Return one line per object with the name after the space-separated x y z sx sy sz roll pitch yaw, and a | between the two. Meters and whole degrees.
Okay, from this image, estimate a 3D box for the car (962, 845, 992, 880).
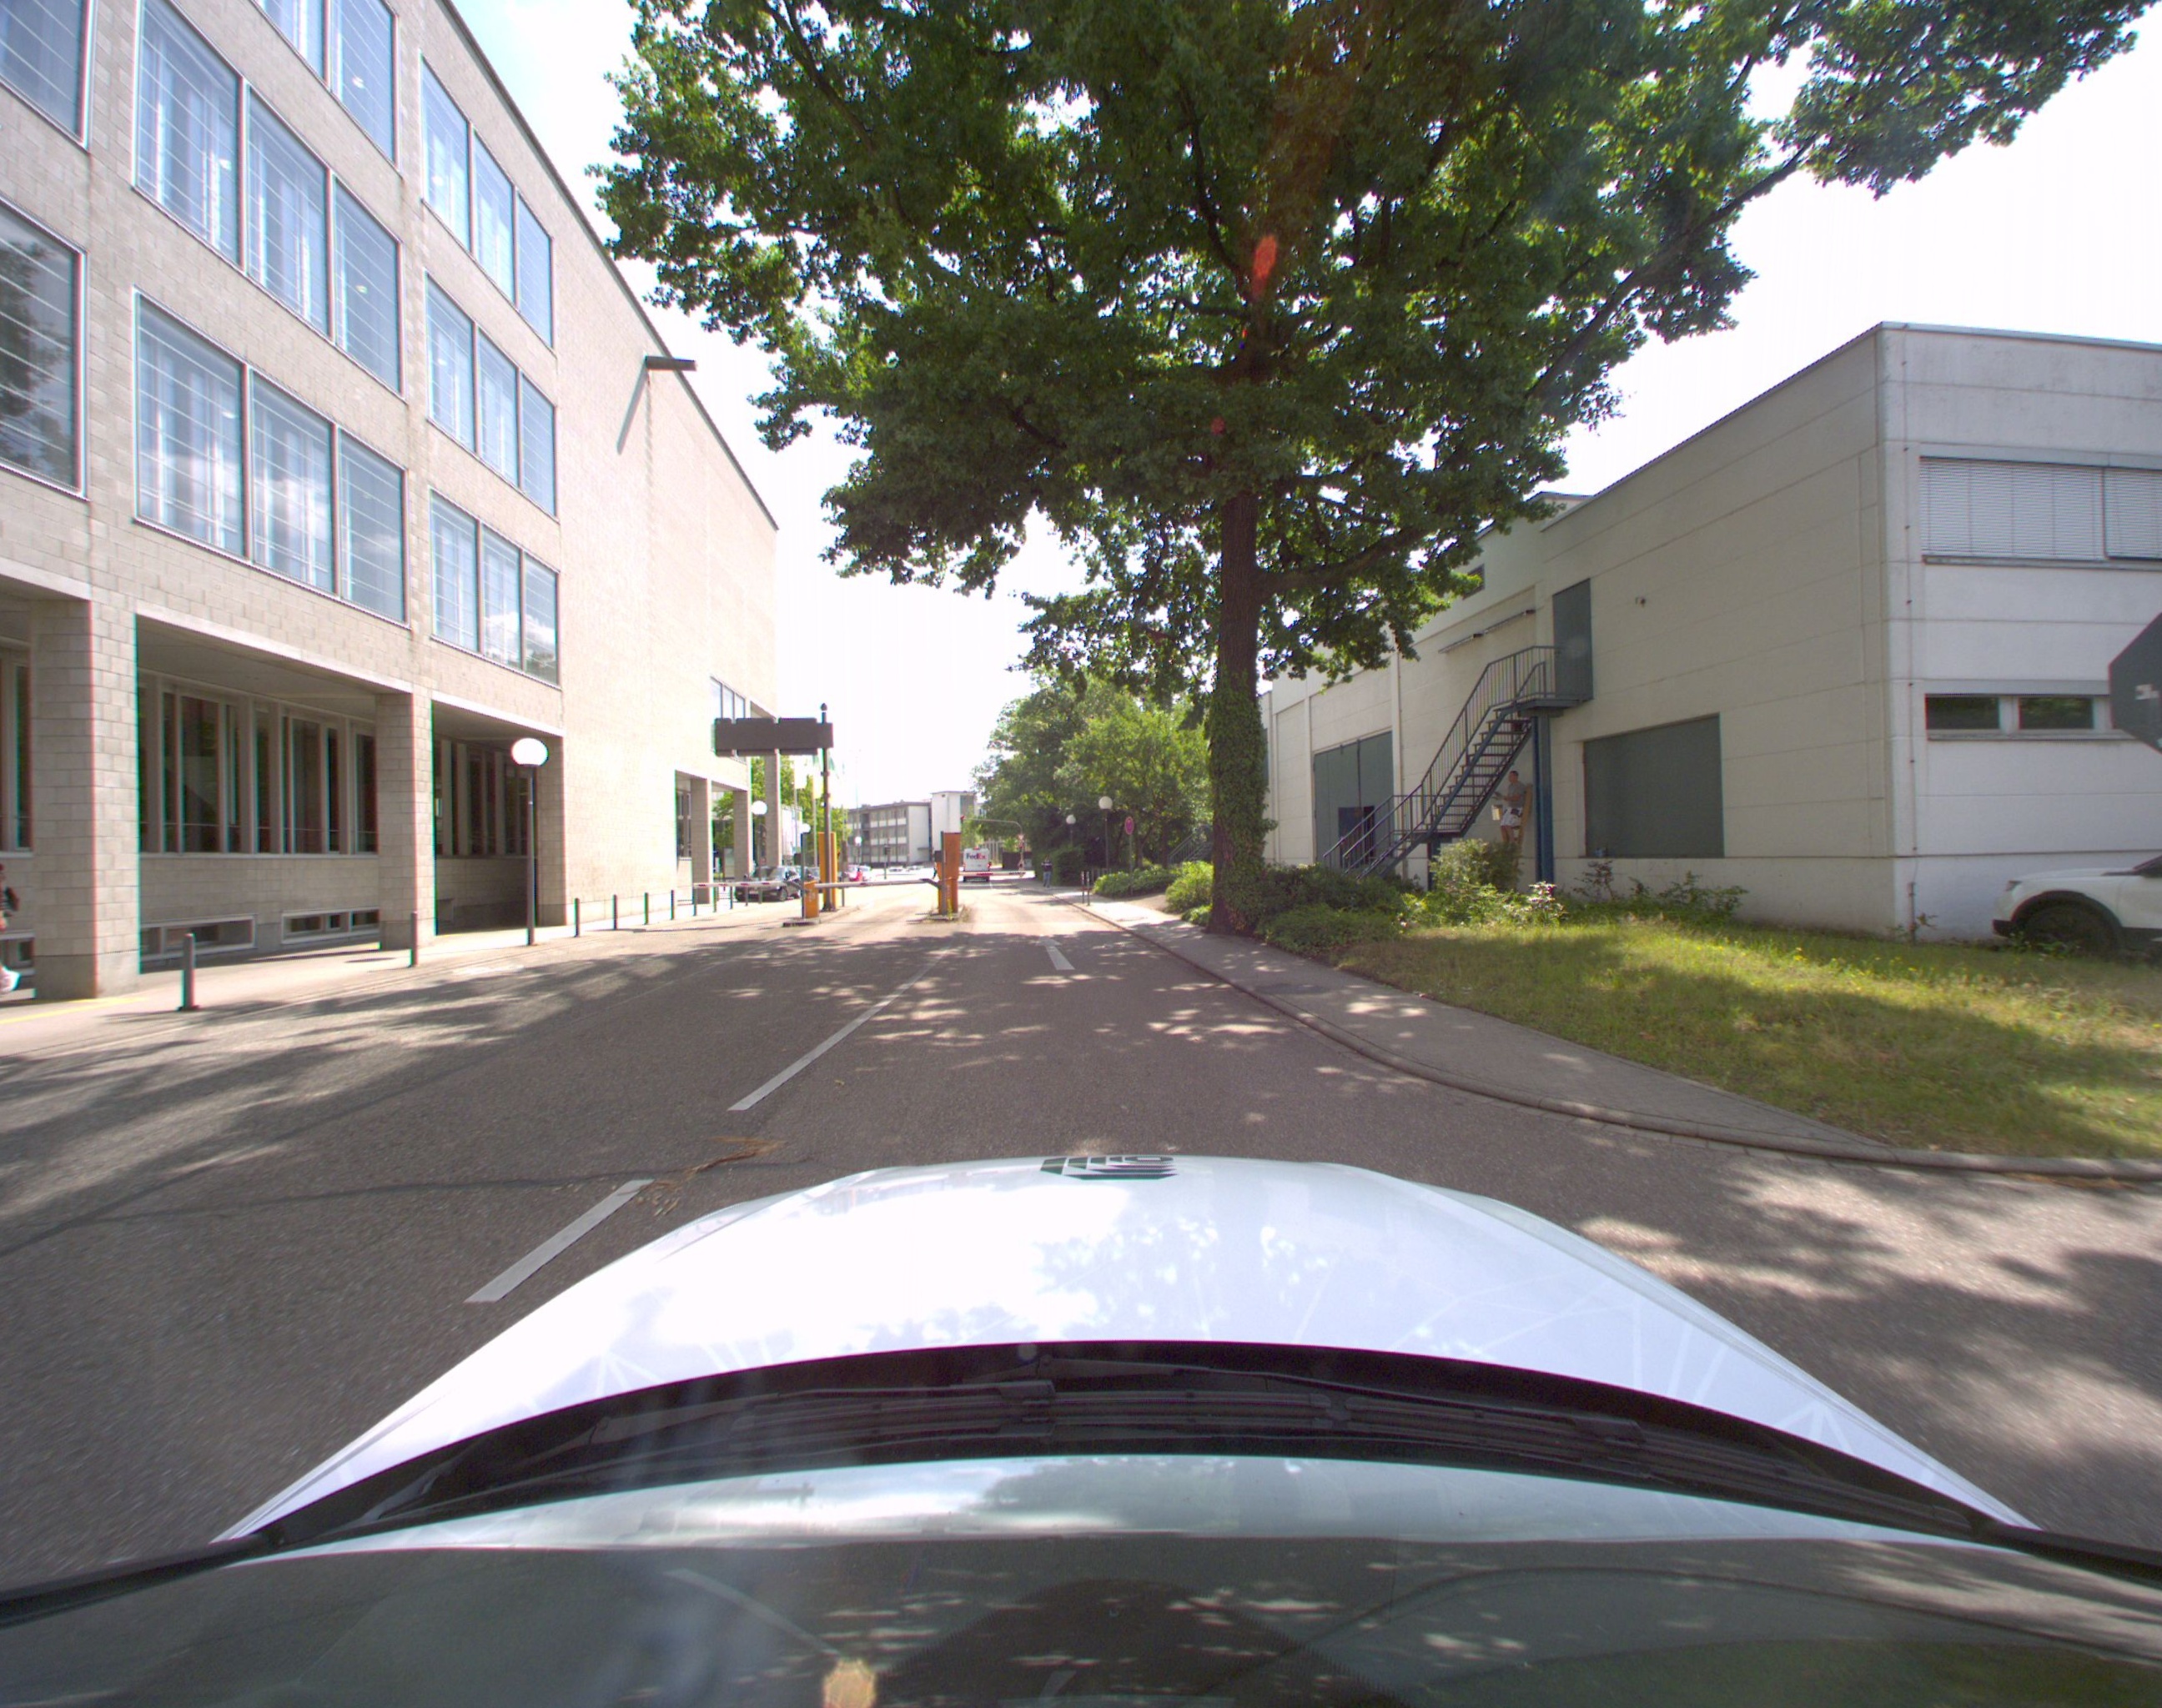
-8.055 0.637 63.007 2.094 2.566 5.587 -1 0 -8 | car

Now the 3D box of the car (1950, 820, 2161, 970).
11.504 0.384 7.782 1.666 1.477 4.169 -1 0 -9 | car

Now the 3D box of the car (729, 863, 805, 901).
-13.173 1.136 34.487 1.858 1.467 4.707 1 -1 -7 | car

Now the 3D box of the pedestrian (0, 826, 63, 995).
-13.251 0.676 9.887 0.698 2.014 0.828 0 -1 -7 | pedestrian

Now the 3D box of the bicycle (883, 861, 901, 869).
-32.289 1.940 139.205 2.982 1.363 1.103 0 -1 -45 | bicycle

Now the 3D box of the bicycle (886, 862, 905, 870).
-31.423 2.029 138.212 2.982 1.363 1.103 0 -1 -45 | bicycle

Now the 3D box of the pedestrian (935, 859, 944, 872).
-21.810 1.735 125.439 1.134 2.014 1.158 -1 -1 7 | pedestrian

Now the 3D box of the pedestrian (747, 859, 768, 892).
-20.012 1.303 50.360 0.984 2.014 1.160 -1 -1 -11 | pedestrian

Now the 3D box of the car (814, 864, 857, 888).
-15.586 1.378 51.918 1.745 1.467 4.188 1 -1 -5 | car

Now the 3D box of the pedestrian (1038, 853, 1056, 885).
-1.799 0.791 42.937 0.739 1.674 1.252 -1 -1 -10 | pedestrian

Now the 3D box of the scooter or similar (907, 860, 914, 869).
-22.389 1.424 106.898 0.718 1.178 2.709 -1 0 -18 | scooter or similar

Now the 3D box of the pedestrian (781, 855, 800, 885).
-20.015 1.073 56.113 0.894 2.027 0.802 -1 -1 23 | pedestrian

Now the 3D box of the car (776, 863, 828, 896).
-13.610 1.217 39.956 1.637 1.467 3.697 1 -1 -7 | car

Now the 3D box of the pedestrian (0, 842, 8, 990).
-14.016 0.787 9.982 0.730 1.880 0.718 0 -1 -7 | pedestrian

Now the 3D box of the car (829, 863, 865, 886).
-16.268 1.408 56.770 1.675 1.467 3.902 1 -1 -6 | car

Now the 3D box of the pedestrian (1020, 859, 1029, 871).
-7.446 1.475 107.338 0.829 1.523 0.808 -1 -1 -27 | pedestrian

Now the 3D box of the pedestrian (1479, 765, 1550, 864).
9.156 -0.817 17.242 0.925 2.013 0.948 -1 0 -4 | pedestrian

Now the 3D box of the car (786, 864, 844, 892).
-14.403 1.264 44.371 1.856 1.378 5.006 1 -1 -5 | car

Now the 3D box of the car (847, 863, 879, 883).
-16.503 1.439 61.852 1.675 1.395 4.652 1 -1 -6 | car

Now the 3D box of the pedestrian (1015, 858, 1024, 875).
-5.634 1.127 75.098 0.731 1.576 0.772 0 -1 -12 | pedestrian

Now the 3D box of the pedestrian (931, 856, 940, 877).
-13.373 1.163 75.043 0.718 1.859 0.768 -1 0 -6 | pedestrian
